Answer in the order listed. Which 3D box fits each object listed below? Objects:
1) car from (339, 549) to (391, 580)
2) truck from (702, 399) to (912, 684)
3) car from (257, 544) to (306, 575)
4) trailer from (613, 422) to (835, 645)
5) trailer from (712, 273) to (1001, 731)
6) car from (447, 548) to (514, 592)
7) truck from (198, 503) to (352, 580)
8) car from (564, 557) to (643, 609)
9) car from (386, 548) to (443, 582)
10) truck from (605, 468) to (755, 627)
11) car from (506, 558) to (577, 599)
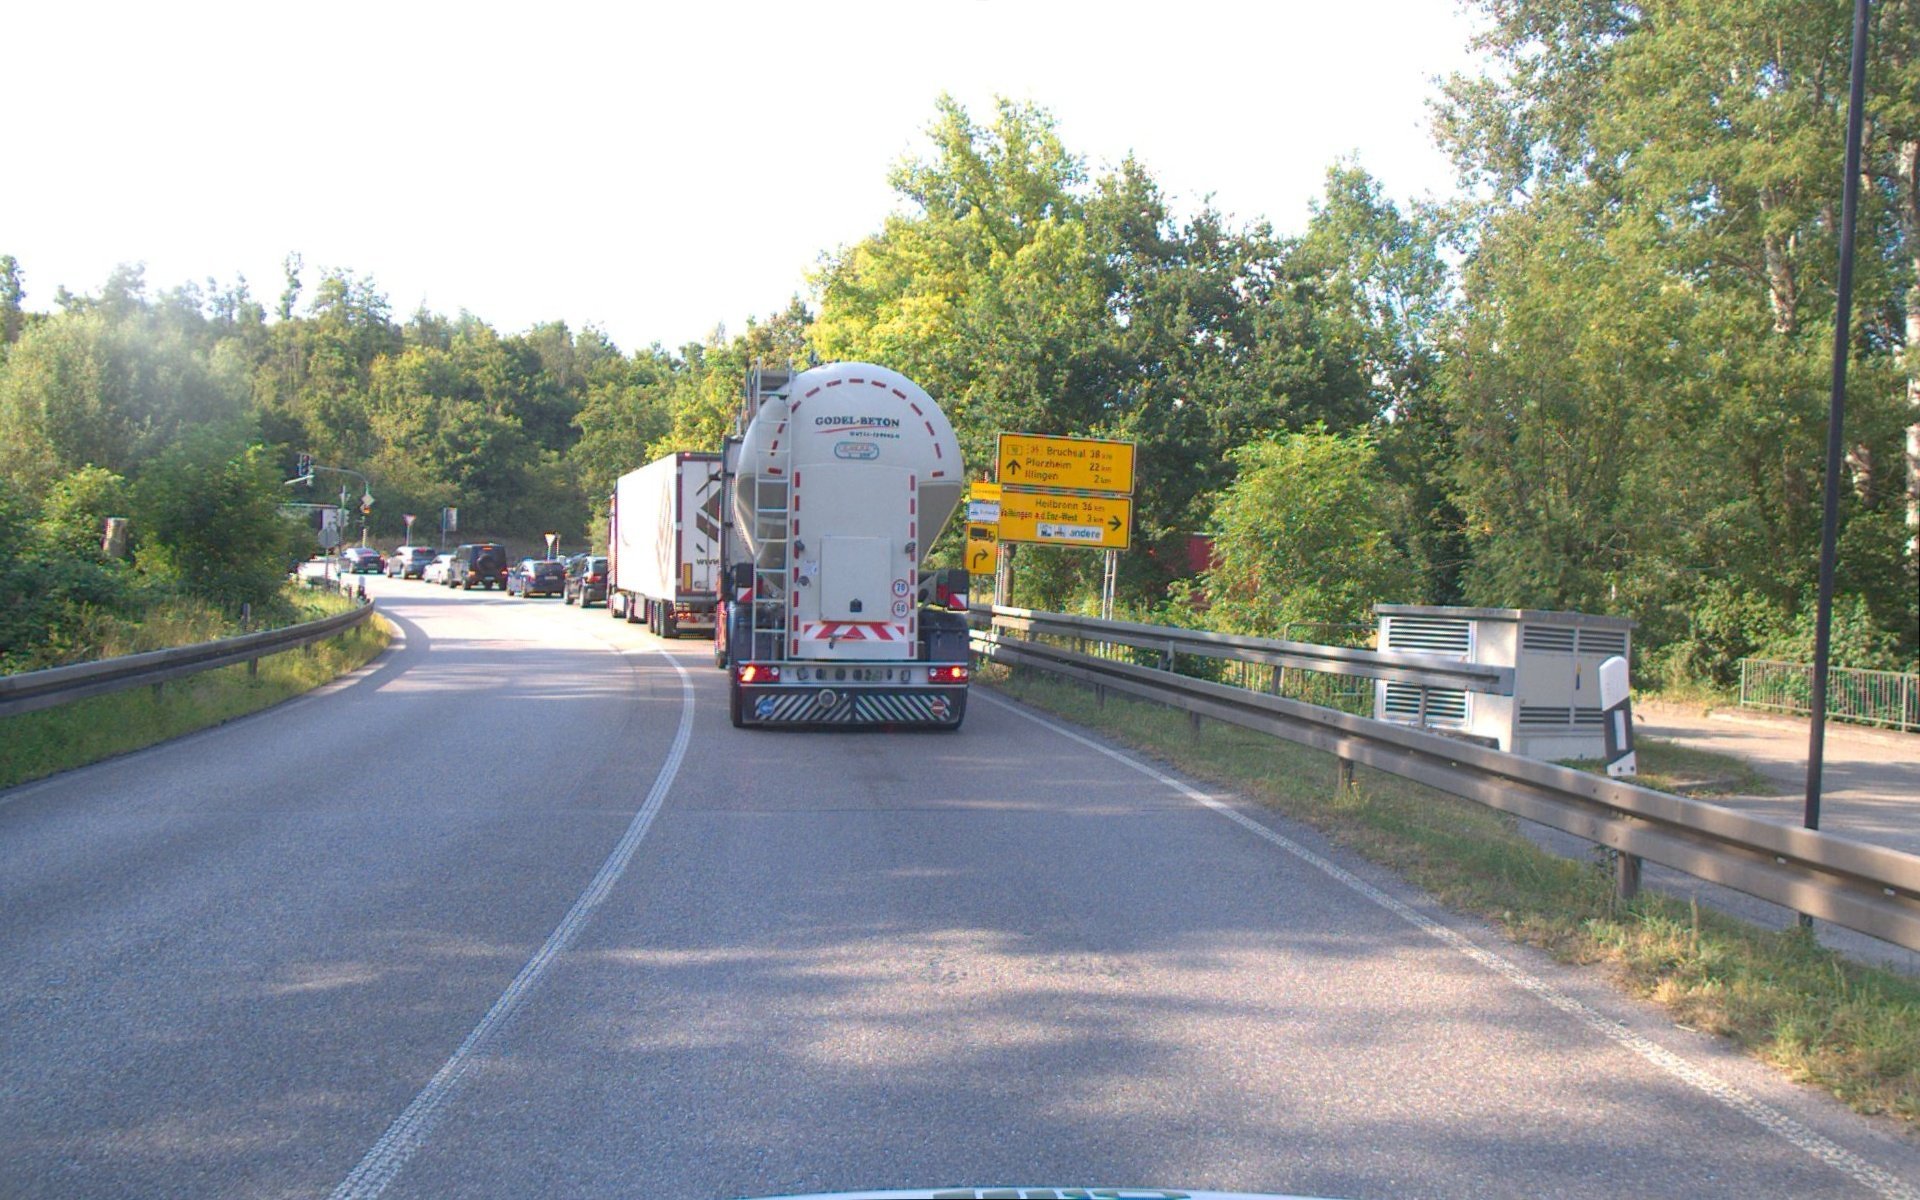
[{"bbox_3d":[-33.601,-2.040,93.407,1.851,1.592,3.954,3,0,-34],"label":"car"},{"bbox_3d":[-2.680,-0.881,27.150,2.774,4.105,5.878,1,1,-11],"label":"truck"},{"bbox_3d":[-35.403,-2.113,86.282,1.848,1.592,3.959,0,2,-30],"label":"car"},{"bbox_3d":[-6.287,-1.471,41.405,3.489,4.591,12.924,2,0,-17],"label":"trailer"},{"bbox_3d":[-1.728,-1.019,21.416,2.833,4.532,9.587,1,1,-9],"label":"trailer"},{"bbox_3d":[-21.455,-1.387,73.931,1.937,1.883,3.958,-1,2,-31],"label":"car"},{"bbox_3d":[-46.537,-3.873,112.850,2.953,4.664,10.232,3,0,25],"label":"truck"},{"bbox_3d":[-12.392,-0.604,57.329,1.844,1.656,3.969,2,0,-25],"label":"car"},{"bbox_3d":[-28.508,-1.840,86.379,1.850,1.622,3.956,3,0,-32],"label":"car"},{"bbox_3d":[-8.202,-1.432,47.800,3.395,4.157,6.460,2,0,-17],"label":"truck"},{"bbox_3d":[-16.697,-0.874,65.842,1.847,1.592,3.963,-1,2,-28],"label":"car"}]
